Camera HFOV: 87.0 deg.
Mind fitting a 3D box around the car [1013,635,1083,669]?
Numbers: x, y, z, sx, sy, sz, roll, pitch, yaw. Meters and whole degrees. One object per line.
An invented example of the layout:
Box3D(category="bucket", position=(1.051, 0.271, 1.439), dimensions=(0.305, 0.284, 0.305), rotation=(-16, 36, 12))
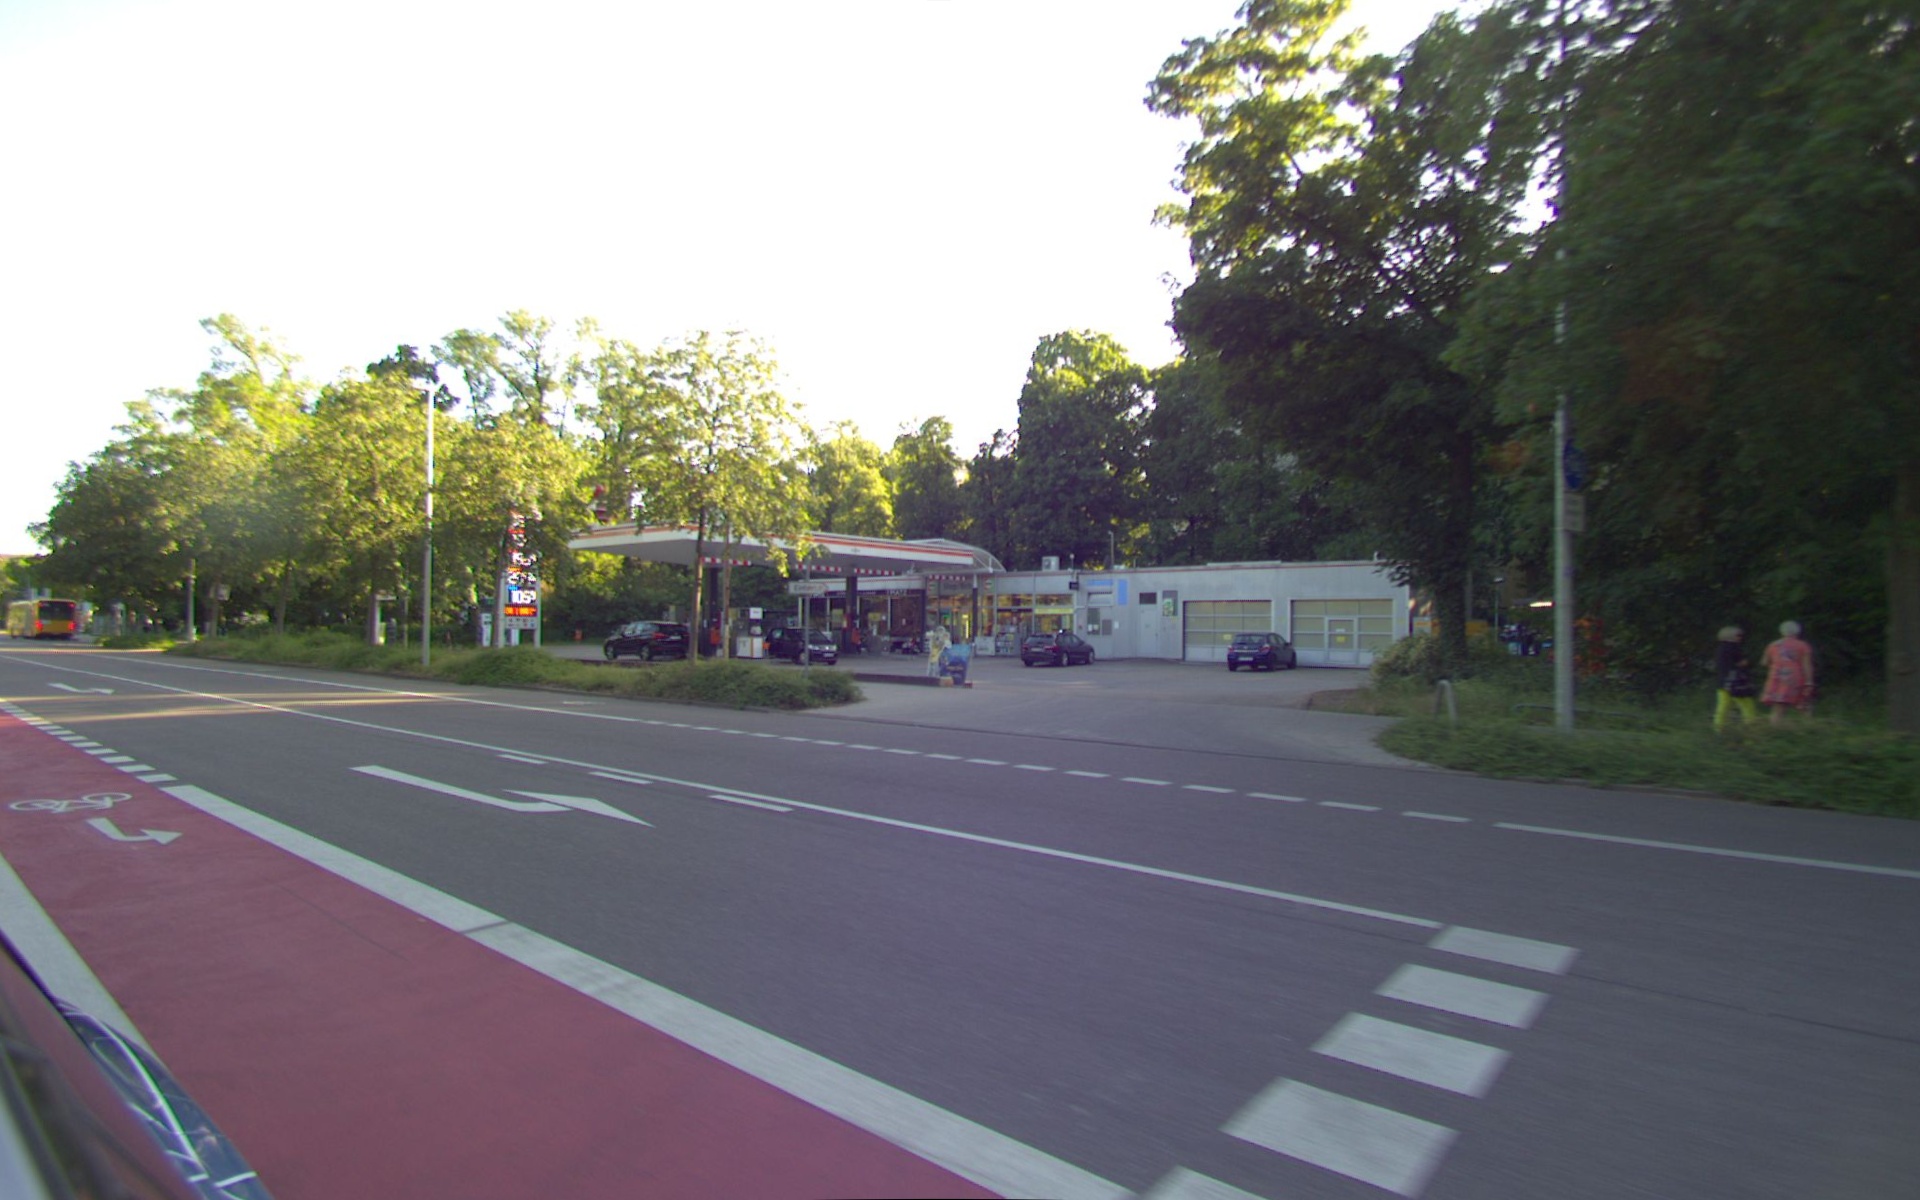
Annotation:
Box3D(category="car", position=(3.737, 2.157, 42.473), dimensions=(1.707, 1.364, 3.600), rotation=(-1, -2, 27))

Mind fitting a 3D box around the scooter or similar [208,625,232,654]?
Box3D(category="scooter or similar", position=(-45.494, 2.434, 62.235), dimensions=(1.740, 1.730, 0.818), rotation=(-2, -3, 42))

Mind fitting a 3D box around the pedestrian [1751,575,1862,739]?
Box3D(category="pedestrian", position=(10.847, 0.718, 12.988), dimensions=(0.707, 2.029, 0.799), rotation=(1, -2, -16))

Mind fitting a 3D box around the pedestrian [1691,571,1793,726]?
Box3D(category="pedestrian", position=(10.624, 0.650, 13.768), dimensions=(0.707, 2.029, 0.799), rotation=(1, -2, -16))

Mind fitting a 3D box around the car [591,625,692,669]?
Box3D(category="car", position=(-13.064, 1.883, 41.386), dimensions=(4.446, 1.704, 1.694), rotation=(-1, -3, 37))

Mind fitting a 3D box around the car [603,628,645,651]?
Box3D(category="car", position=(-23.306, 2.703, 70.039), dimensions=(1.966, 1.548, 4.033), rotation=(2, -2, -30))

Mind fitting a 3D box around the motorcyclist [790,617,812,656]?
Box3D(category="motorcyclist", position=(-8.984, 2.072, 57.206), dimensions=(1.107, 2.199, 1.017), rotation=(1, -2, -4))

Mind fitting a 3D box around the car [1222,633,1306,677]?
Box3D(category="car", position=(11.610, 2.052, 38.504), dimensions=(1.895, 1.567, 3.951), rotation=(-1, -3, 36))

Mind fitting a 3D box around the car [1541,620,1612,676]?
Box3D(category="car", position=(23.223, 1.779, 38.048), dimensions=(1.996, 1.996, 3.952), rotation=(-1, -2, 35))

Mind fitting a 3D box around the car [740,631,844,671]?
Box3D(category="car", position=(-6.912, 2.049, 41.386), dimensions=(4.575, 1.509, 1.693), rotation=(-1, -3, 41))

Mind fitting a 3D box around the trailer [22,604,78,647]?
Box3D(category="trailer", position=(-76.974, 2.103, 85.526), dimensions=(9.364, 3.381, 2.823), rotation=(-1, 0, 44))

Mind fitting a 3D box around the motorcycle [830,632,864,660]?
Box3D(category="motorcycle", position=(-6.126, 2.469, 54.772), dimensions=(1.114, 1.462, 2.755), rotation=(1, -2, -22))
